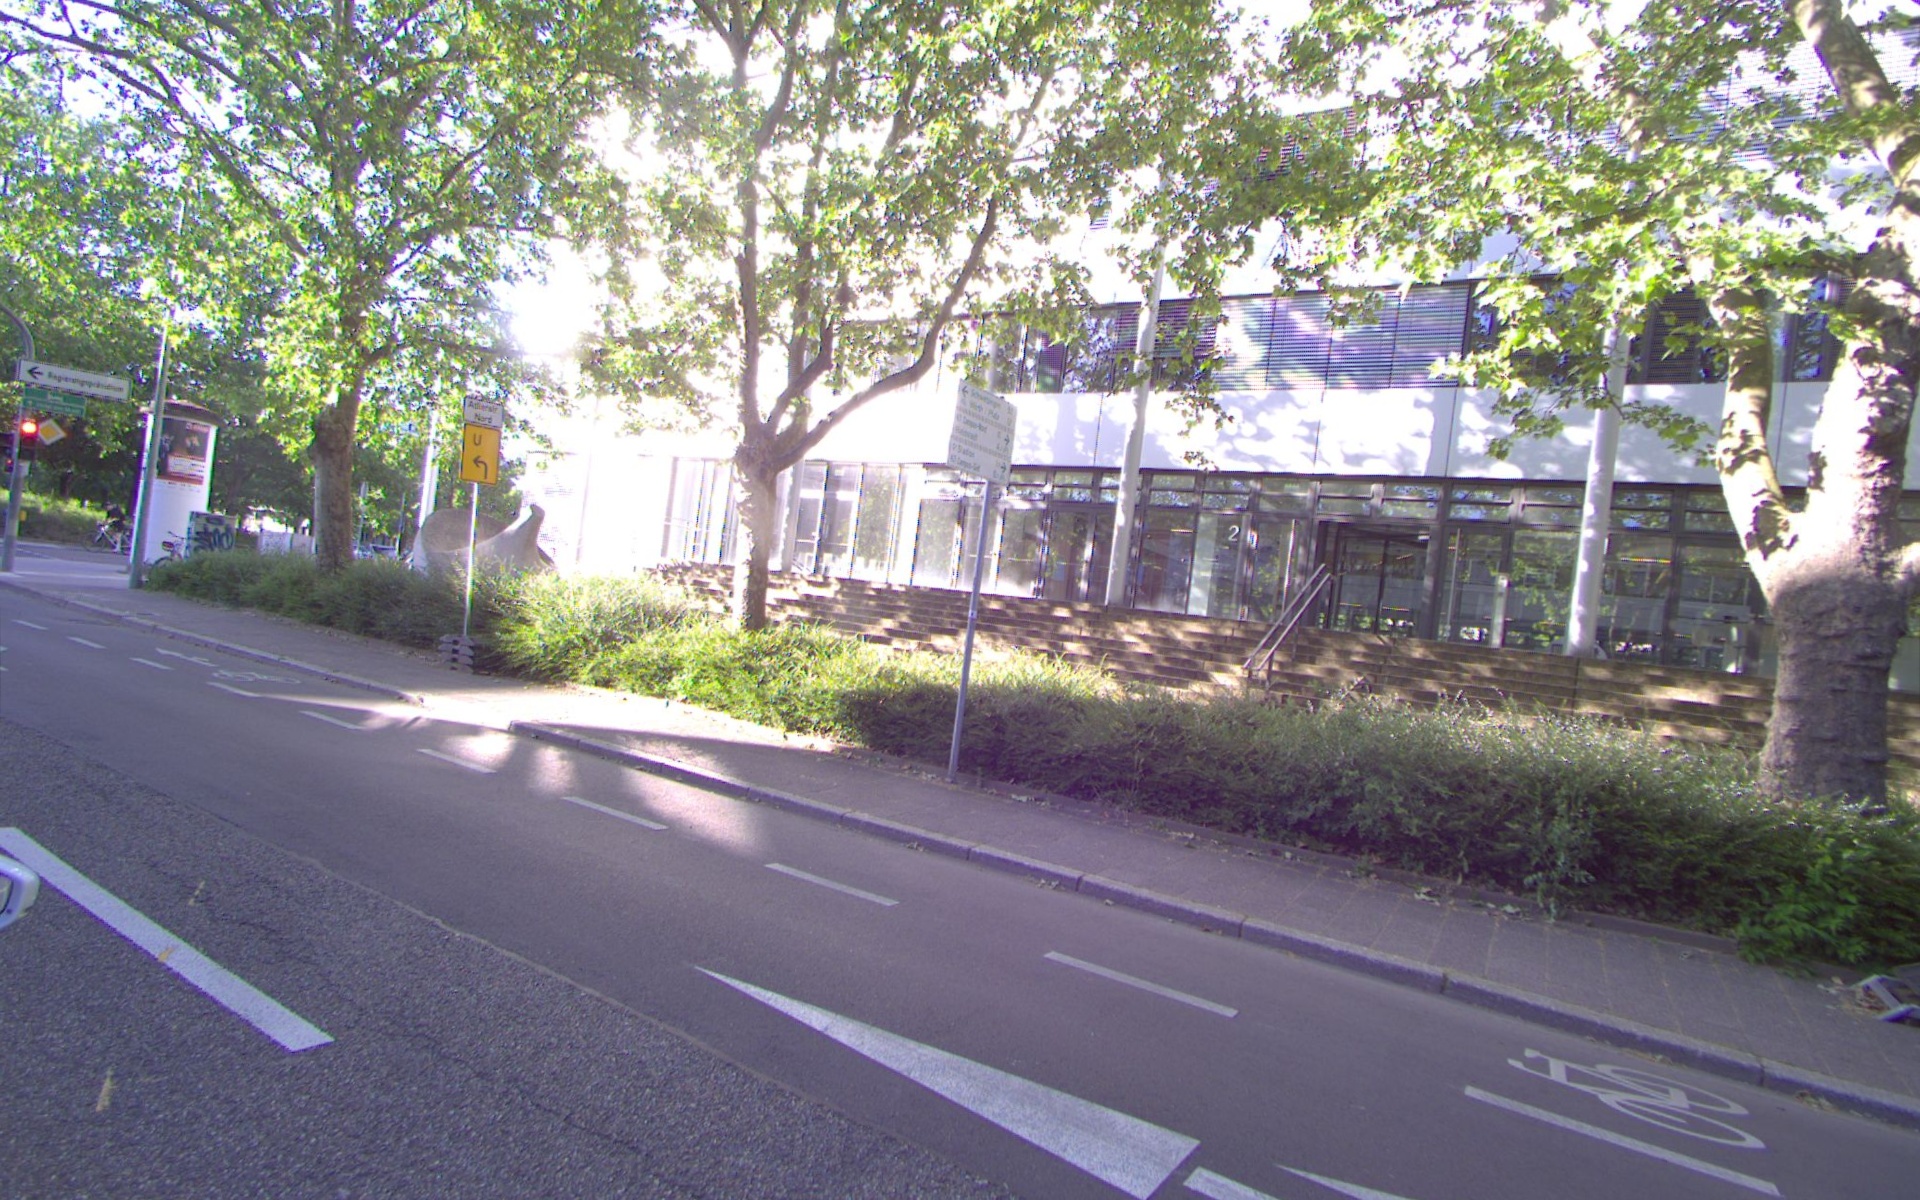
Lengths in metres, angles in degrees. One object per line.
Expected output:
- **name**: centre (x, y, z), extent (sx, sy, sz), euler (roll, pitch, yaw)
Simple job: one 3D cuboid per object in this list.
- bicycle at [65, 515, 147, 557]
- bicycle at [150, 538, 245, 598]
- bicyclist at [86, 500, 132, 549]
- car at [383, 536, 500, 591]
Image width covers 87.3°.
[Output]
- **bicycle**: centre (-30.814, -2.294, 36.326), extent (0.869, 1.199, 2.004), euler (7, -1, 22)
- **bicycle**: centre (-15.927, -0.652, 21.041), extent (0.529, 1.049, 1.418), euler (7, -1, 28)
- **bicyclist**: centre (-30.746, -2.729, 36.336), extent (0.869, 1.572, 0.816), euler (7, 0, 22)
- **car**: centre (-22.912, -1.589, 44.575), extent (1.969, 1.805, 3.998), euler (7, -2, 36)
